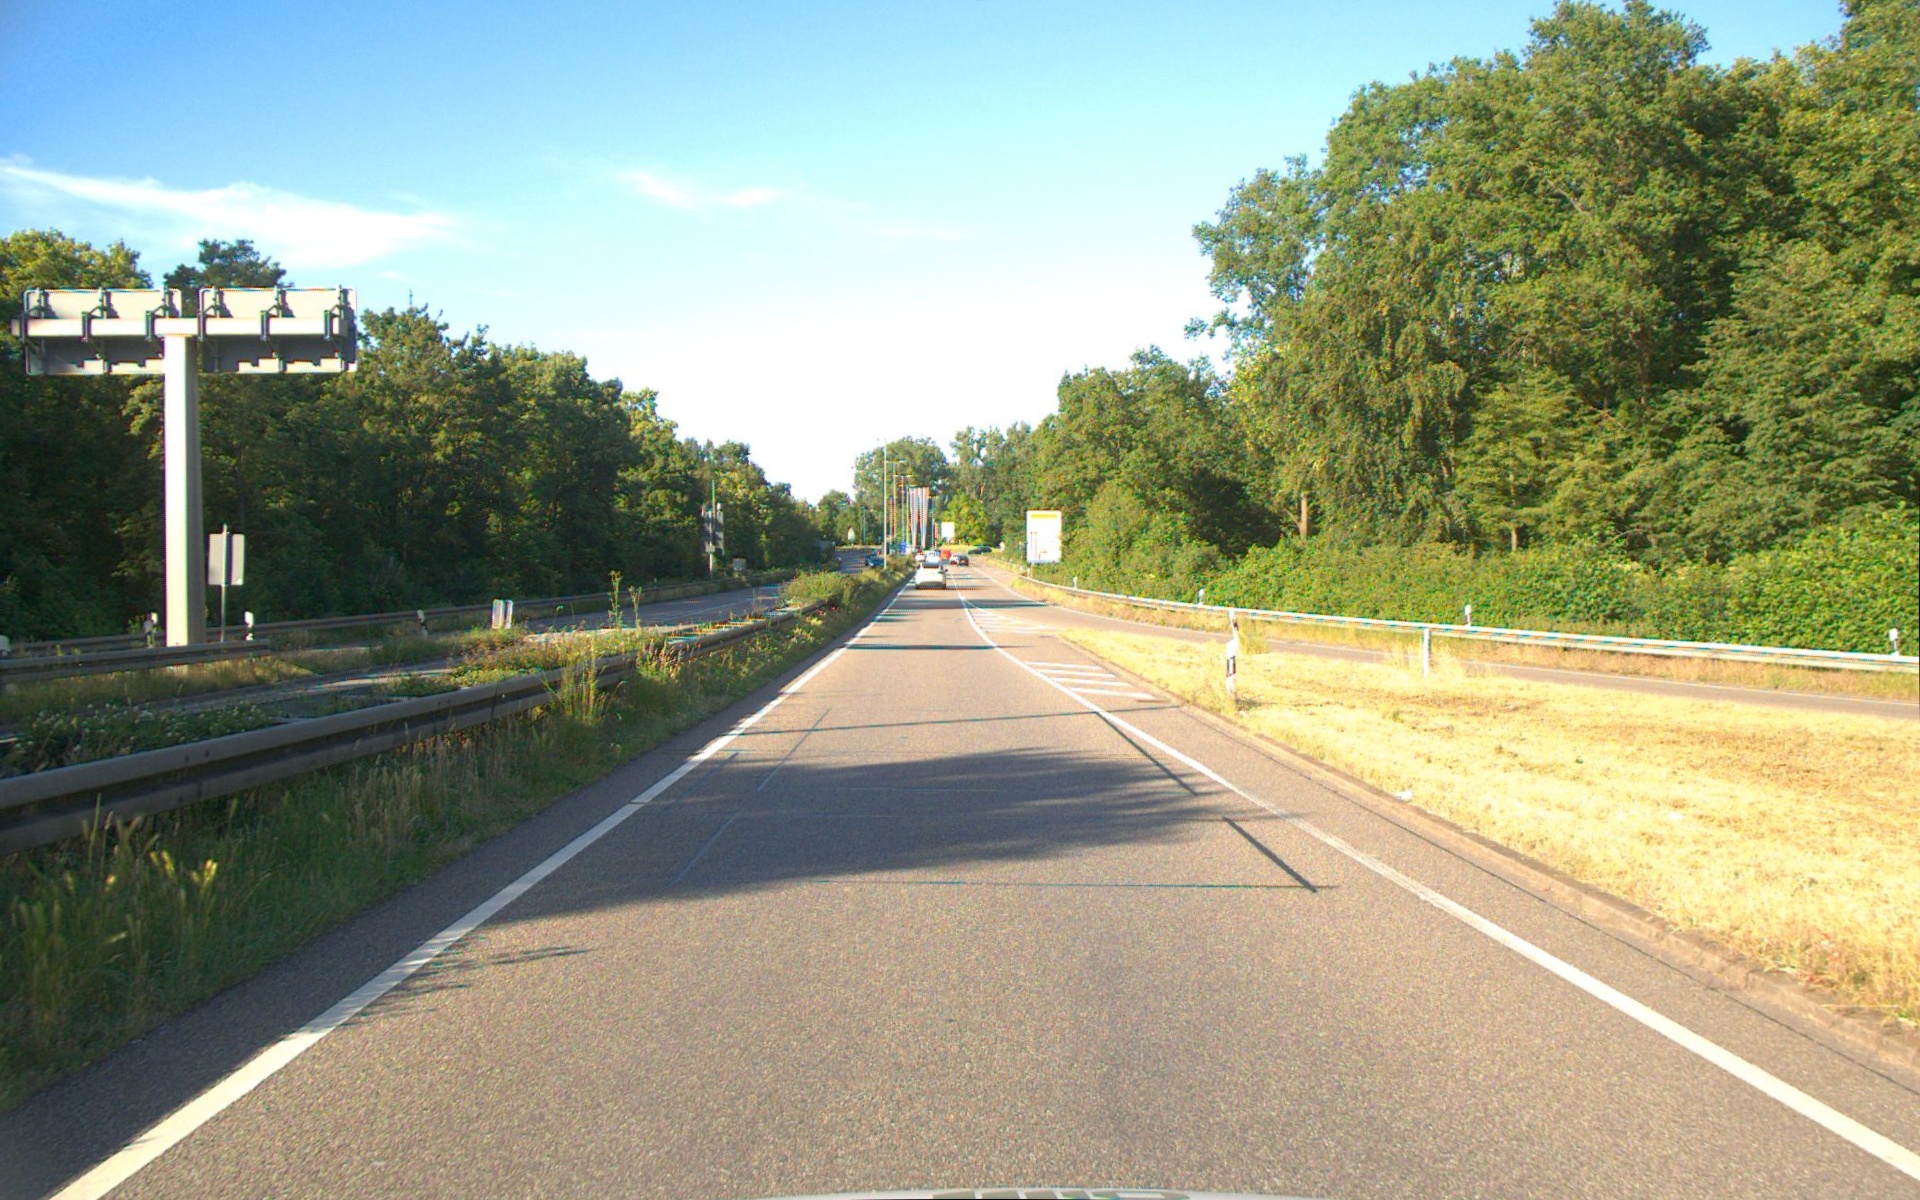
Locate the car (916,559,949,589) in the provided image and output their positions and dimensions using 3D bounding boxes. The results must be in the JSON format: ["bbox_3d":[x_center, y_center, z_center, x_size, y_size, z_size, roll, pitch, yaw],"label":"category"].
[{"bbox_3d":[-1.684,-1.620,101.573,1.953,1.668,4.128,-1,3,-2],"label":"car"}]

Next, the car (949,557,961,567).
[{"bbox_3d":[-0.703,-5.559,240.680,1.591,1.302,2.987,2,1,-1],"label":"car"}]

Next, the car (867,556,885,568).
[{"bbox_3d":[-10.108,-4.596,199.226,1.744,1.427,4.554,-1,2,1],"label":"car"}]

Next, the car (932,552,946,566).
[{"bbox_3d":[-3.088,-5.873,237.634,1.953,1.912,4.249,-1,2,-1],"label":"car"}]

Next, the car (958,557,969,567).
[{"bbox_3d":[0.497,-5.117,223.722,1.360,1.302,2.987,2,1,-1],"label":"car"}]
